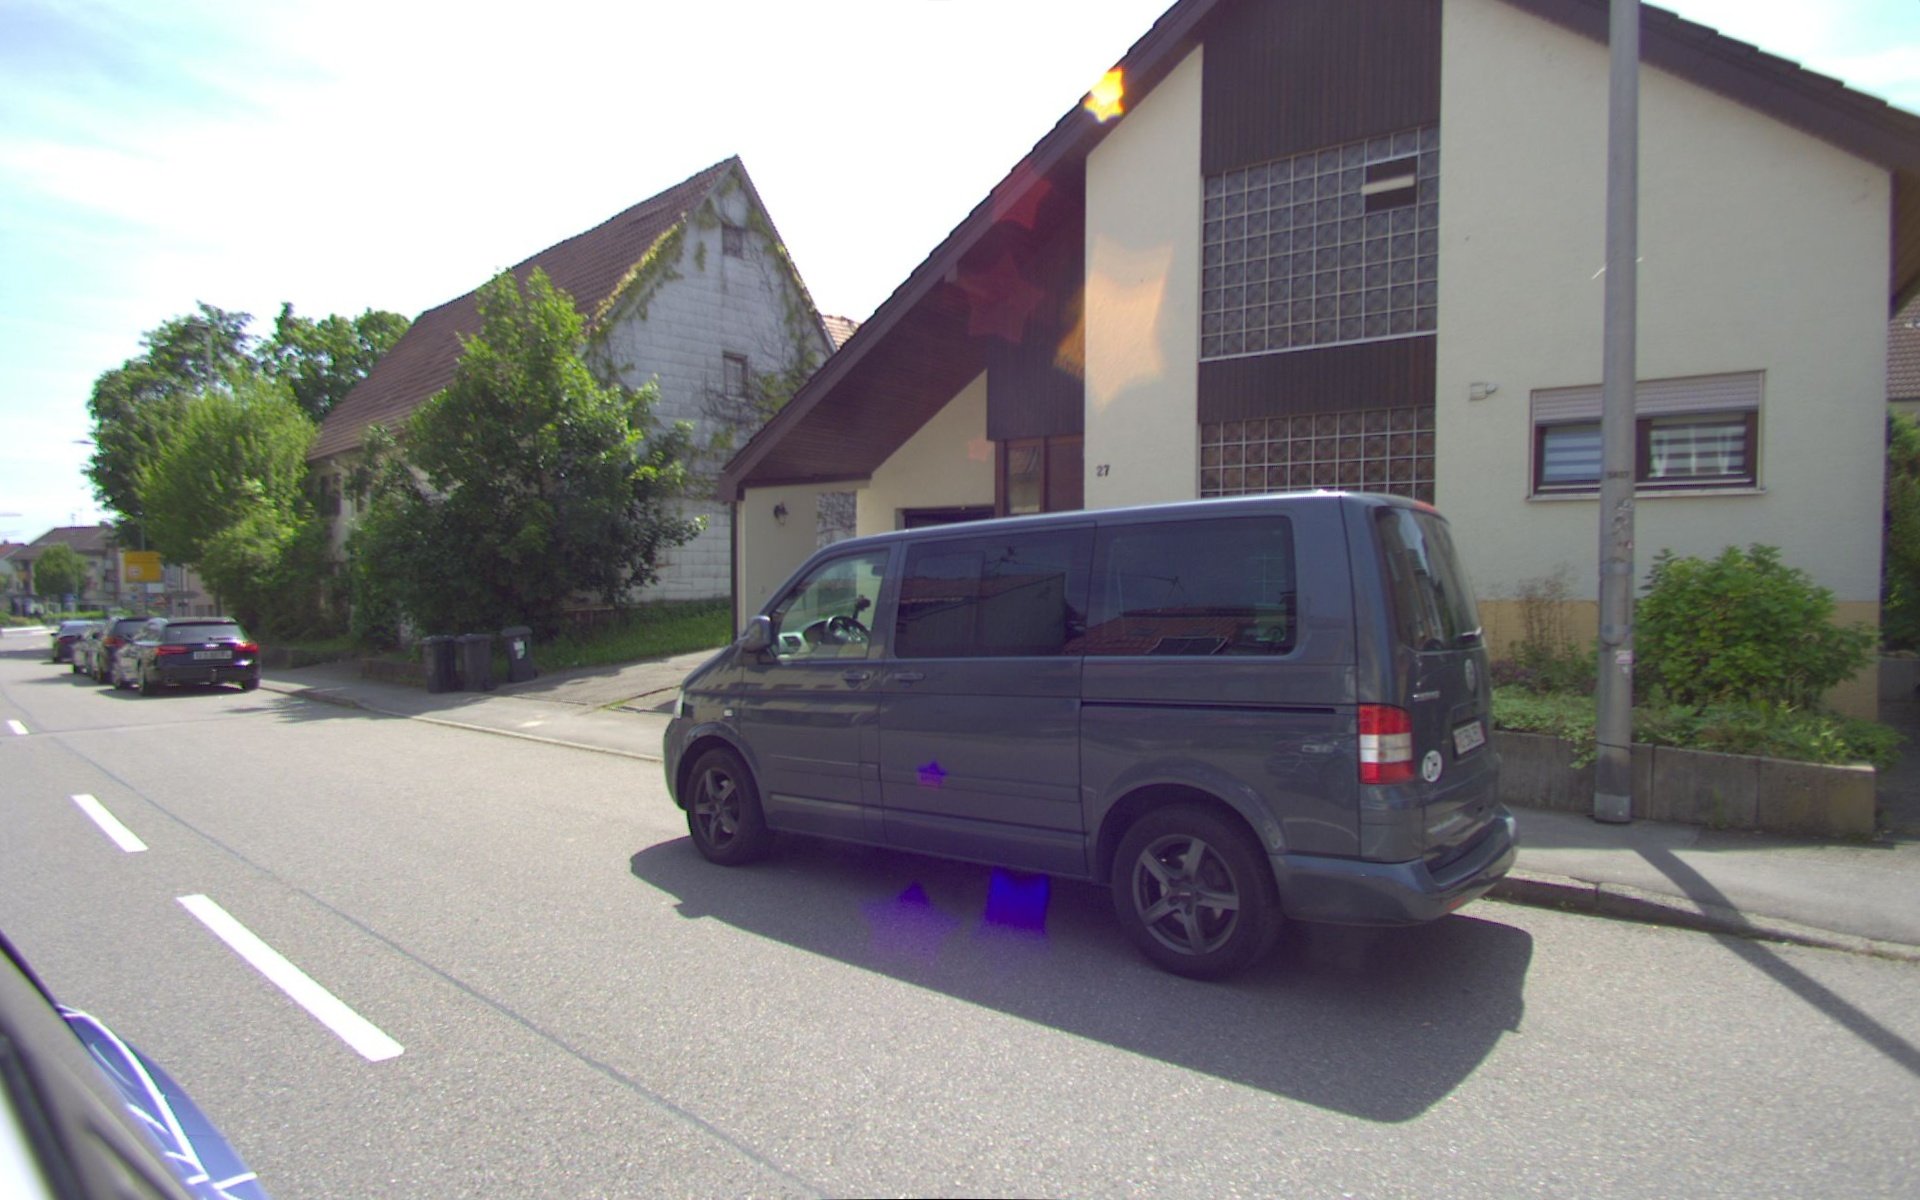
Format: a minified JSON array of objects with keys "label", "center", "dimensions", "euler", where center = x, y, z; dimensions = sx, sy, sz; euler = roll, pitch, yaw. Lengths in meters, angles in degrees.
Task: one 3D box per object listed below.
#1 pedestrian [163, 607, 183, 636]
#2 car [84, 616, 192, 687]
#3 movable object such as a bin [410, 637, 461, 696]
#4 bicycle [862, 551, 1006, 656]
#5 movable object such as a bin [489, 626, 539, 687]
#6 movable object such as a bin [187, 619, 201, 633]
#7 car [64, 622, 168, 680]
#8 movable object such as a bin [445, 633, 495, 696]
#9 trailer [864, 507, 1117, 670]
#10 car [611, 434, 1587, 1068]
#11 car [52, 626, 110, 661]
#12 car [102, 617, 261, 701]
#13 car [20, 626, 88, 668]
[{"label":"pedestrian","center":[-45.126,1.210,58.026],"dimensions":[0.627,1.628,0.724],"euler":[-1,1,32]},{"label":"car","center":[-19.873,1.194,24.400],"dimensions":[1.734,1.532,4.305],"euler":[0,-1,-43]},{"label":"movable object such as a bin","center":[-8.706,1.101,16.798],"dimensions":[0.584,0.908,0.496],"euler":[-2,3,38]},{"label":"bicycle","center":[-0.378,0.009,17.006],"dimensions":[0.760,1.390,2.723],"euler":[-1,7,39]},{"label":"movable object such as a bin","center":[-7.597,0.958,17.244],"dimensions":[0.524,0.955,0.496],"euler":[-1,7,38]},{"label":"movable object such as a bin","center":[-57.739,1.947,76.268],"dimensions":[0.790,1.008,0.807],"euler":[-4,2,-36]},{"label":"car","center":[-23.656,1.361,28.305],"dimensions":[4.713,1.474,1.768],"euler":[-1,-1,44]},{"label":"movable object such as a bin","center":[-8.048,1.054,16.635],"dimensions":[0.527,0.945,0.469],"euler":[-1,6,39]},{"label":"trailer","center":[0.596,-0.277,15.891],"dimensions":[1.998,2.027,3.796],"euler":[-1,7,38]},{"label":"car","center":[0.332,0.504,5.454],"dimensions":[4.982,1.952,1.872],"euler":[-1,-2,40]},{"label":"car","center":[-40.797,1.970,47.038],"dimensions":[1.749,1.539,4.230],"euler":[1,-2,-37]},{"label":"car","center":[-15.724,1.124,20.348],"dimensions":[4.776,1.484,1.799],"euler":[-2,-1,43]},{"label":"car","center":[-33.704,1.737,37.712],"dimensions":[1.782,1.434,4.934],"euler":[0,-2,-41]}]
